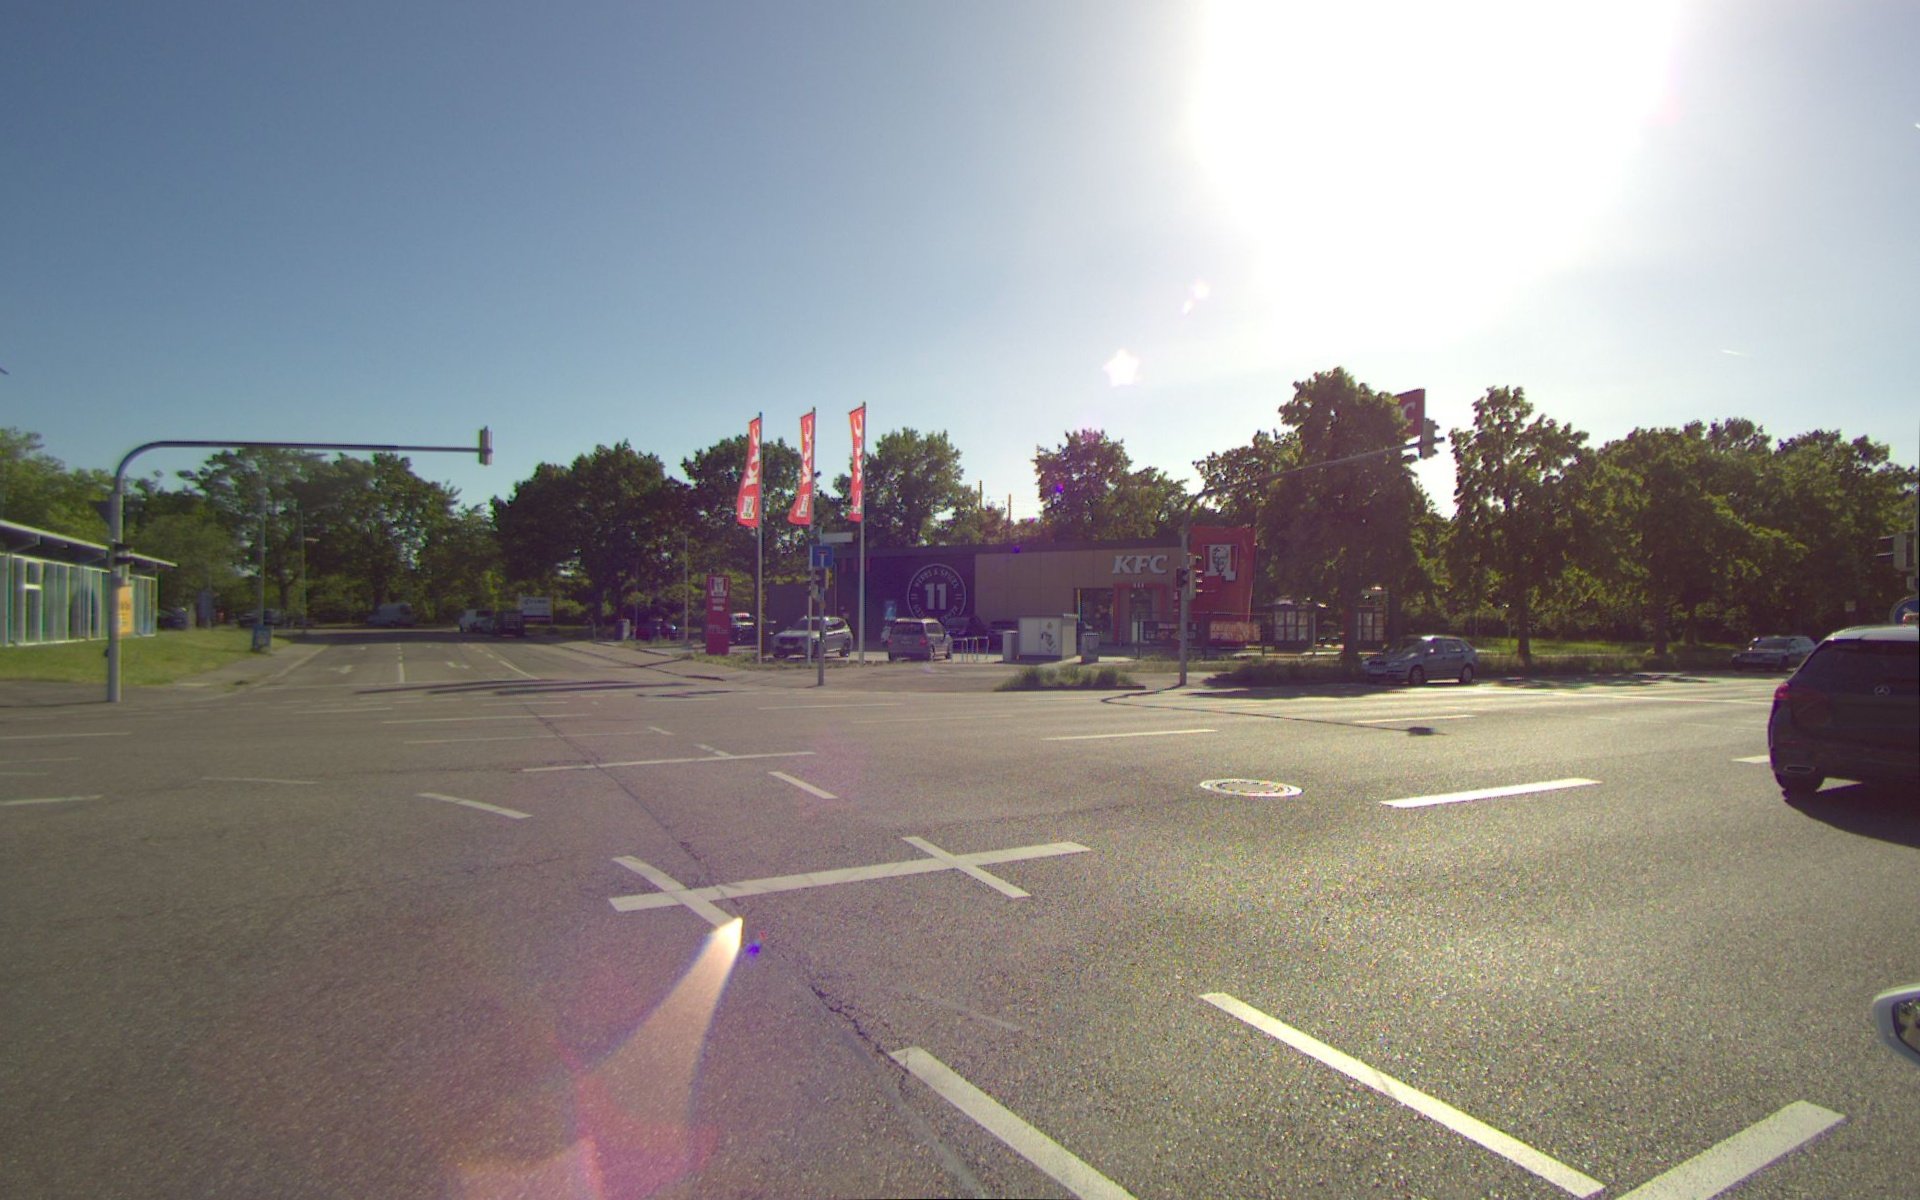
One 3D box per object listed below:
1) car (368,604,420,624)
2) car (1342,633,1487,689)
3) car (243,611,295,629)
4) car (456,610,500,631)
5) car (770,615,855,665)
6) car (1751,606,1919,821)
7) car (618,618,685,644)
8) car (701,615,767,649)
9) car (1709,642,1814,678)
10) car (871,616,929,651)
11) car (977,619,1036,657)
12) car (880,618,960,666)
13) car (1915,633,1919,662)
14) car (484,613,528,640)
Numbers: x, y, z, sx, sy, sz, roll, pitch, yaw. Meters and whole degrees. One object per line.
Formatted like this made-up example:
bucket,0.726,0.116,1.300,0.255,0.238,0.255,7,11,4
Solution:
car,-53.747,1.384,95.352,4.699,1.823,2.099,-1,-2,27
car,13.728,1.789,30.323,4.147,1.546,1.984,1,-1,-31
car,-72.493,2.074,105.344,4.693,1.823,2.102,0,-2,20
car,-40.356,1.721,84.069,4.241,1.690,1.898,-2,-3,44
car,-5.942,1.576,40.924,1.811,1.875,3.830,2,0,20
car,9.006,0.930,8.928,4.175,1.619,1.699,2,0,-31
car,-22.216,2.226,72.275,4.213,1.867,1.911,0,-2,15
car,-12.281,1.778,54.861,1.880,1.764,4.304,0,-2,12
car,33.487,2.479,41.950,4.569,1.394,1.984,2,-2,-31
car,-3.118,1.763,52.736,1.845,1.771,4.002,0,-2,15
car,2.372,1.858,50.016,1.857,1.684,4.243,2,0,17
car,-1.506,1.614,39.908,1.857,1.684,4.134,2,0,17
car,52.983,2.565,53.518,4.147,1.493,1.984,2,-2,-31
car,-33.656,1.980,74.392,1.893,1.867,4.252,2,-3,-39
